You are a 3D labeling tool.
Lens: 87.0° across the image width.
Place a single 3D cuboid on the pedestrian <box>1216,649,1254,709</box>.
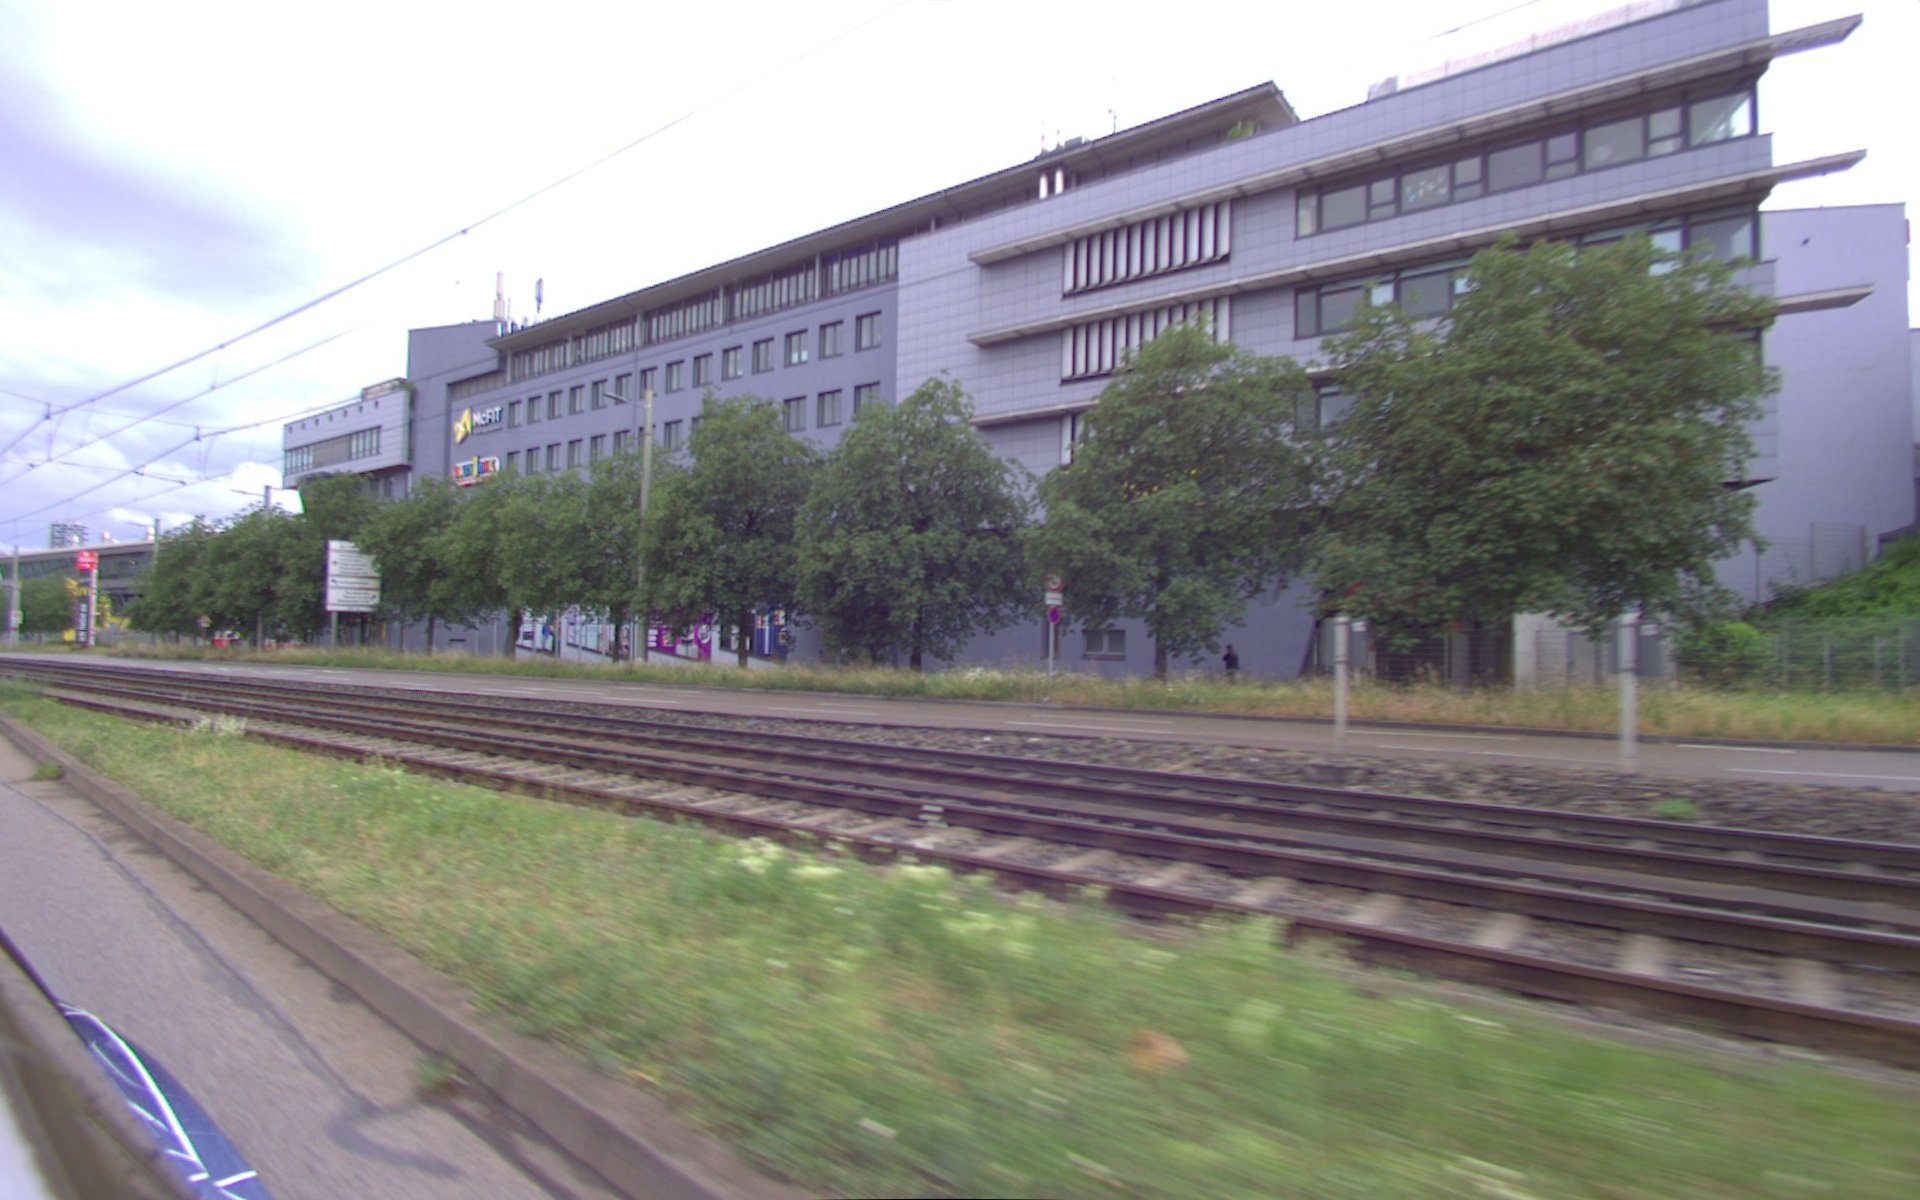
[{"bbox_3d":[8.513,2.434,31.361,0.877,1.769,0.717,-2,-1,41],"label":"pedestrian"}]
